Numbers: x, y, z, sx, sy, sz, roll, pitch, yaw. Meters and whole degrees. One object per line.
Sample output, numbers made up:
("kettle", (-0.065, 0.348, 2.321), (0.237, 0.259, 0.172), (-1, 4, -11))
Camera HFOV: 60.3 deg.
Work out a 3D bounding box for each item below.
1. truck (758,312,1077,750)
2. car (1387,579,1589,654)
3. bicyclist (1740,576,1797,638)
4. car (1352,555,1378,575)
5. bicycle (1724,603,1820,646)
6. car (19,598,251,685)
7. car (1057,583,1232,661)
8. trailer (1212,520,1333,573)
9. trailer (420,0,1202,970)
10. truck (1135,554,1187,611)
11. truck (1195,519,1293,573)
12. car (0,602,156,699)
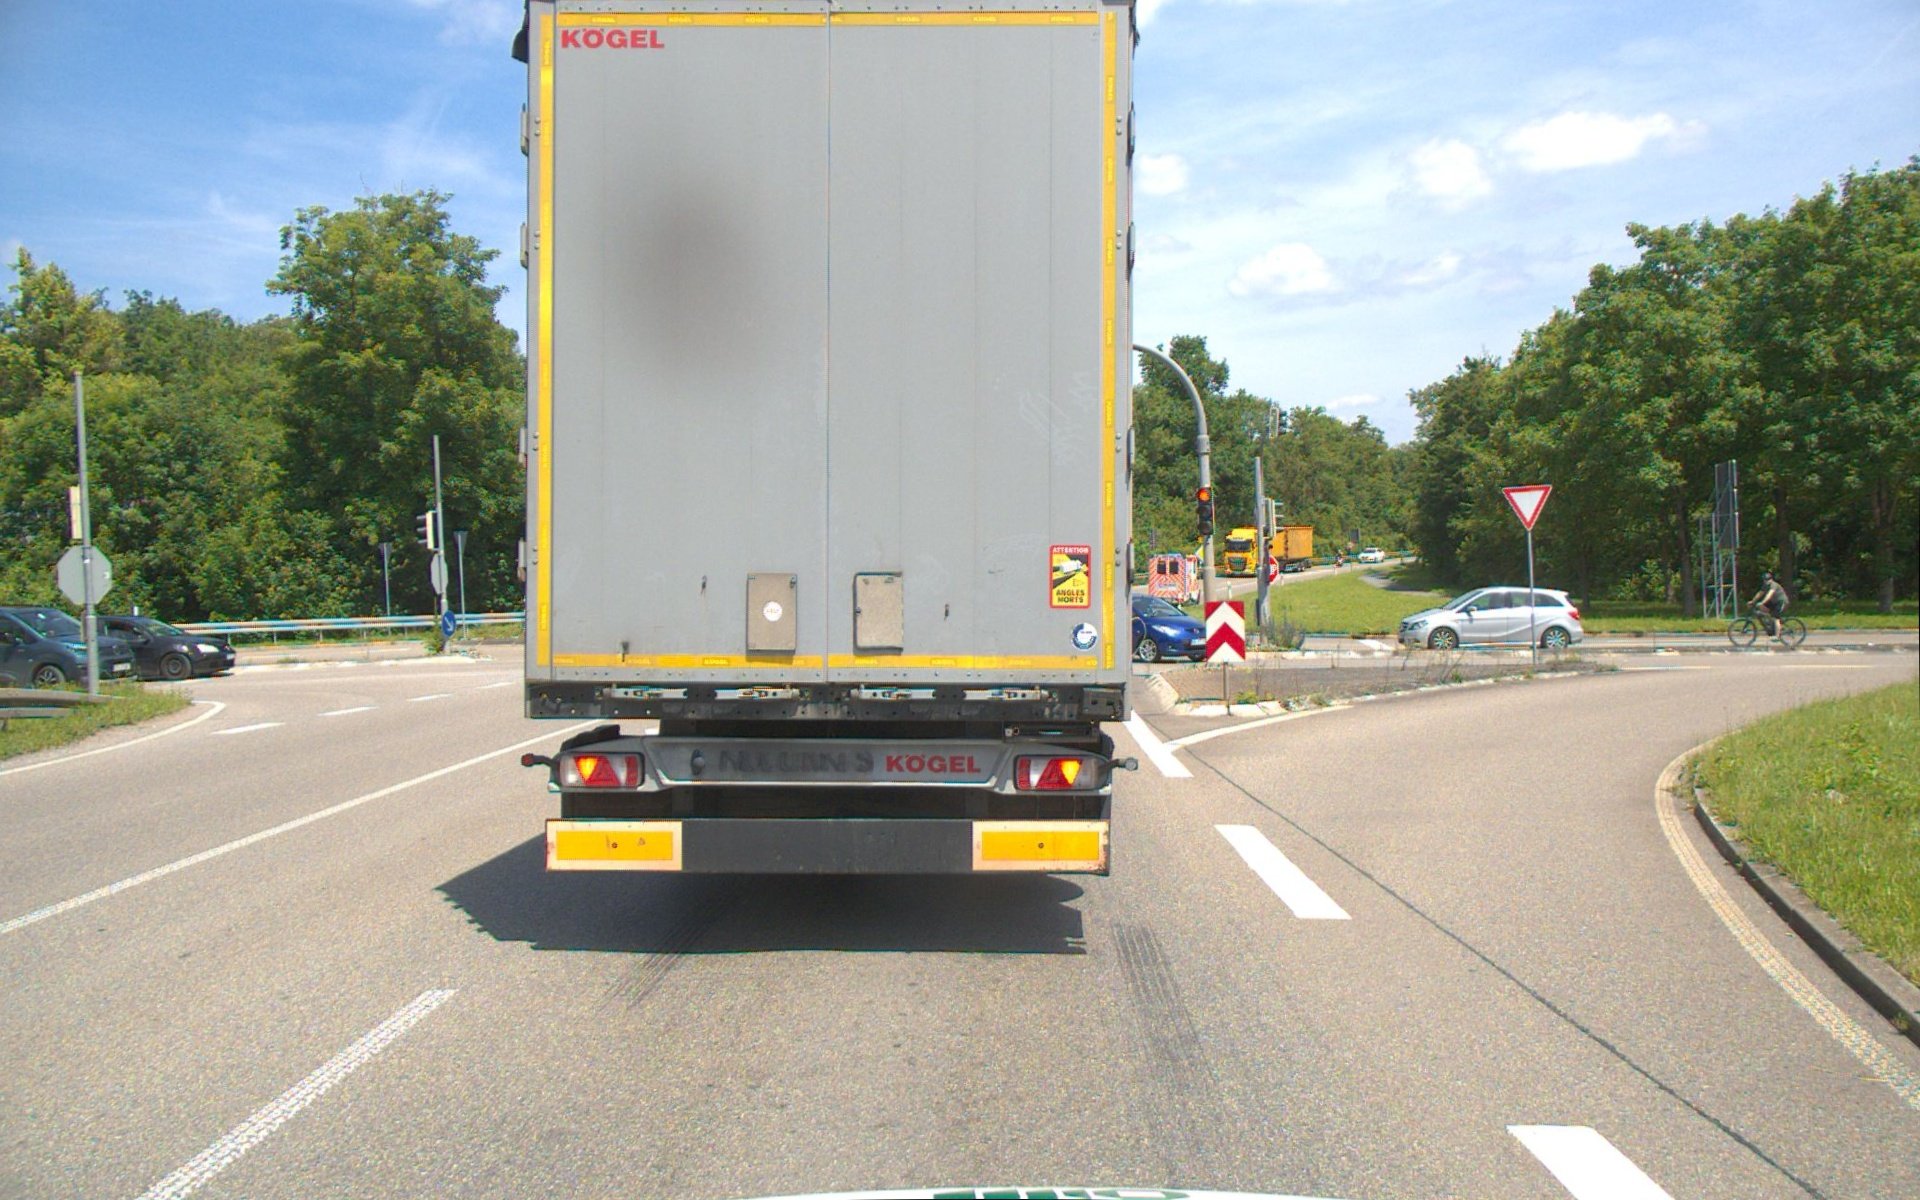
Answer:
("truck", (-0.337, -0.651, 18.890), (2.975, 4.104, 6.630), (0, 0, 1))
("car", (12.794, 0.428, 40.316), (4.334, 1.749, 2.001), (0, -2, 4))
("bicyclist", (19.649, 0.178, 40.218), (0.985, 1.474, 0.795), (1, -2, -3))
("car", (42.844, -3.733, 174.959), (1.954, 2.049, 3.998), (0, 1, 25))
("bicycle", (19.722, 0.590, 40.204), (1.949, 1.013, 0.796), (1, -2, -4))
("car", (-17.986, 0.897, 36.159), (4.143, 1.801, 2.002), (-1, -1, 9))
("car", (4.067, 0.518, 36.931), (1.860, 1.641, 3.810), (2, -2, -35))
("trailer", (28.895, -4.806, 151.295), (4.915, 4.438, 20.810), (0, 1, 28))
("trailer", (-0.457, -0.650, 12.633), (2.988, 4.104, 12.560), (0, 0, 1))
("truck", (10.884, -0.893, 89.260), (2.440, 2.776, 6.035), (0, -2, 10))
("truck", (24.762, -4.613, 143.392), (4.915, 4.438, 11.749), (0, 1, 28))
("car", (-18.090, 0.961, 32.024), (4.143, 1.801, 2.002), (-1, -1, 9))
